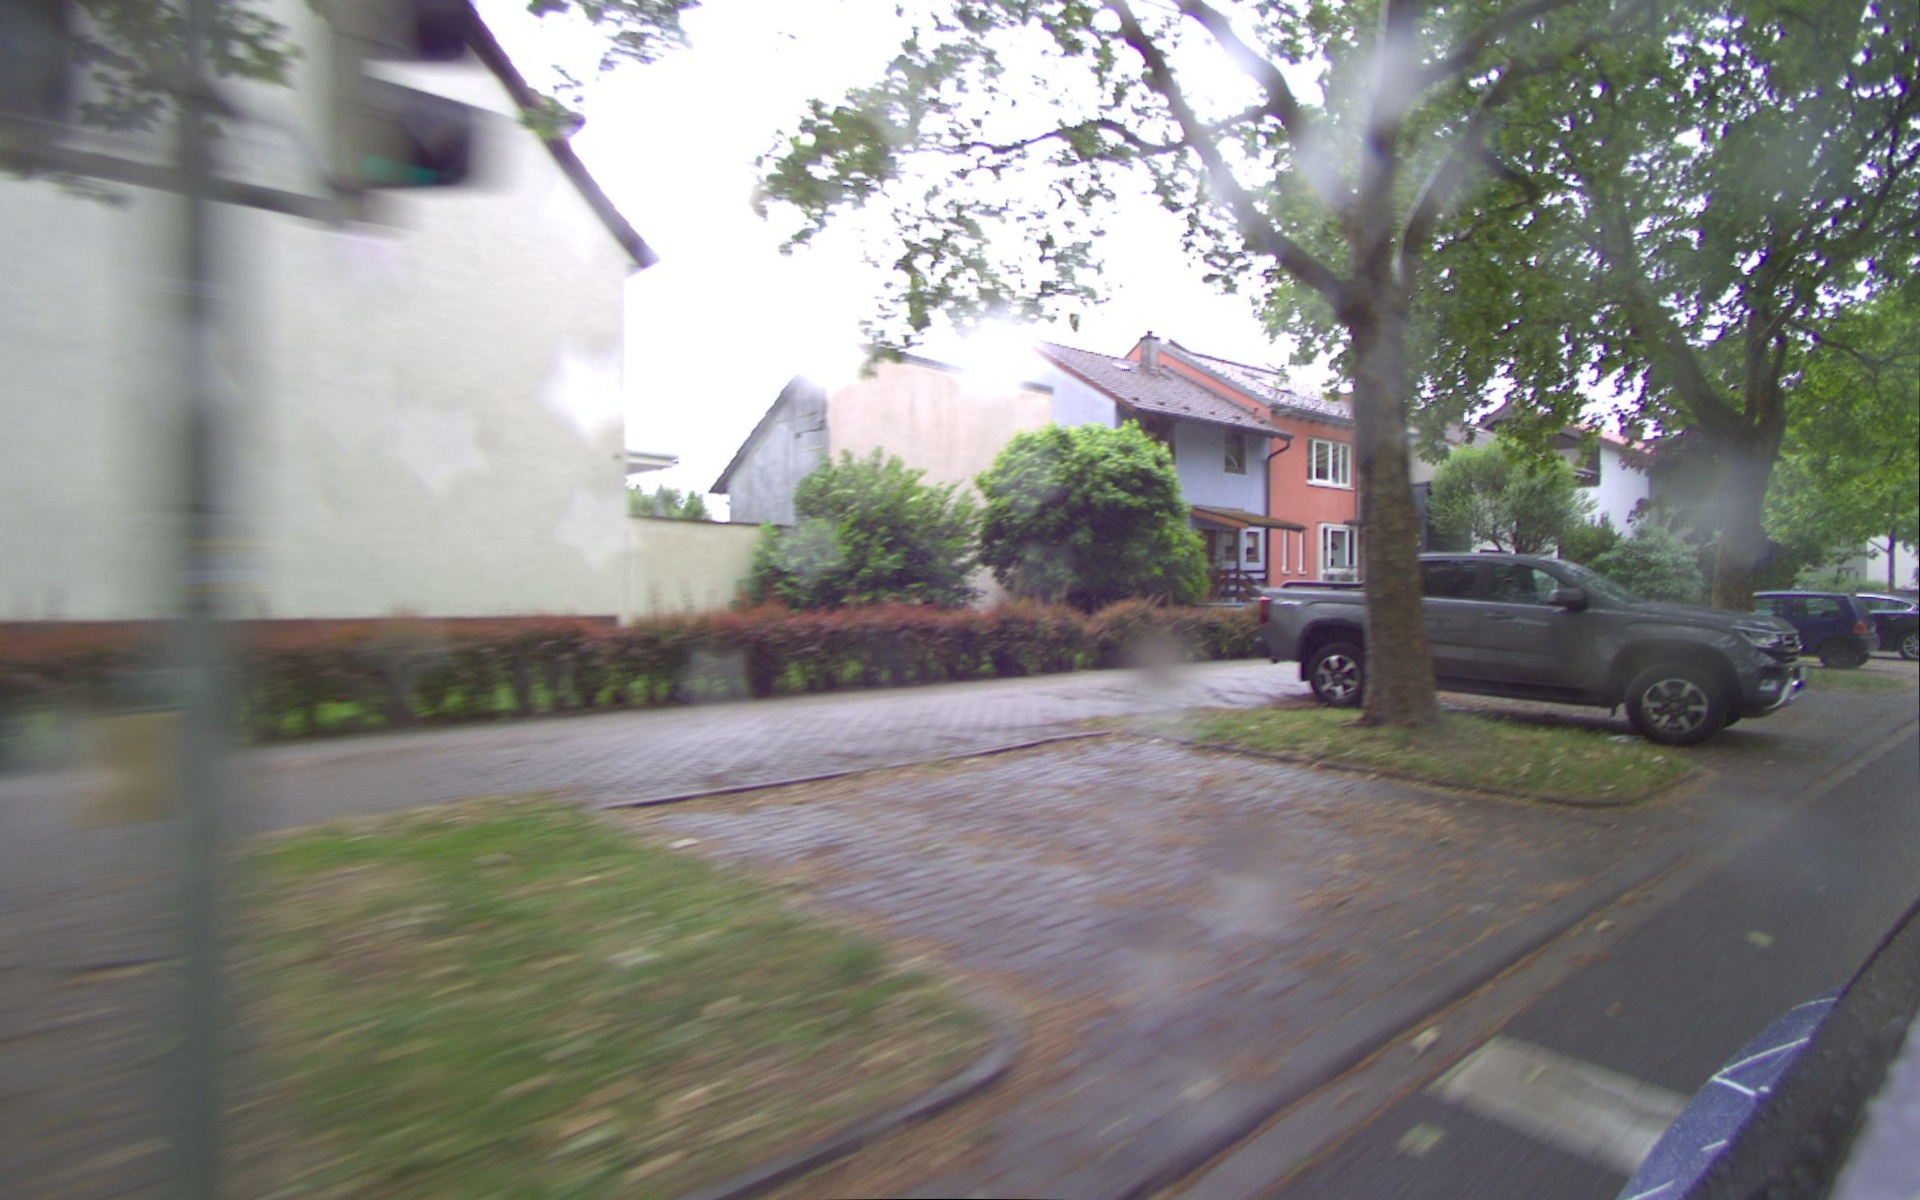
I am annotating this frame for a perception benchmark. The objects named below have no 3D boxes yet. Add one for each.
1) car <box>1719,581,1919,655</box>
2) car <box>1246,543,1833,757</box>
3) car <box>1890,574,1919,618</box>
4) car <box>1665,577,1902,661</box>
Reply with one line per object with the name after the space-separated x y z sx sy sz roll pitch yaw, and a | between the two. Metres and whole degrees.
20.223 0.369 22.769 1.905 1.491 4.773 0 2 -42 | car
6.065 0.316 11.244 1.815 1.829 5.343 -1 3 -44 | car
38.310 -0.107 38.061 1.941 1.682 4.699 0 1 -40 | car
16.080 0.306 19.868 1.590 1.482 3.363 0 1 -39 | car
